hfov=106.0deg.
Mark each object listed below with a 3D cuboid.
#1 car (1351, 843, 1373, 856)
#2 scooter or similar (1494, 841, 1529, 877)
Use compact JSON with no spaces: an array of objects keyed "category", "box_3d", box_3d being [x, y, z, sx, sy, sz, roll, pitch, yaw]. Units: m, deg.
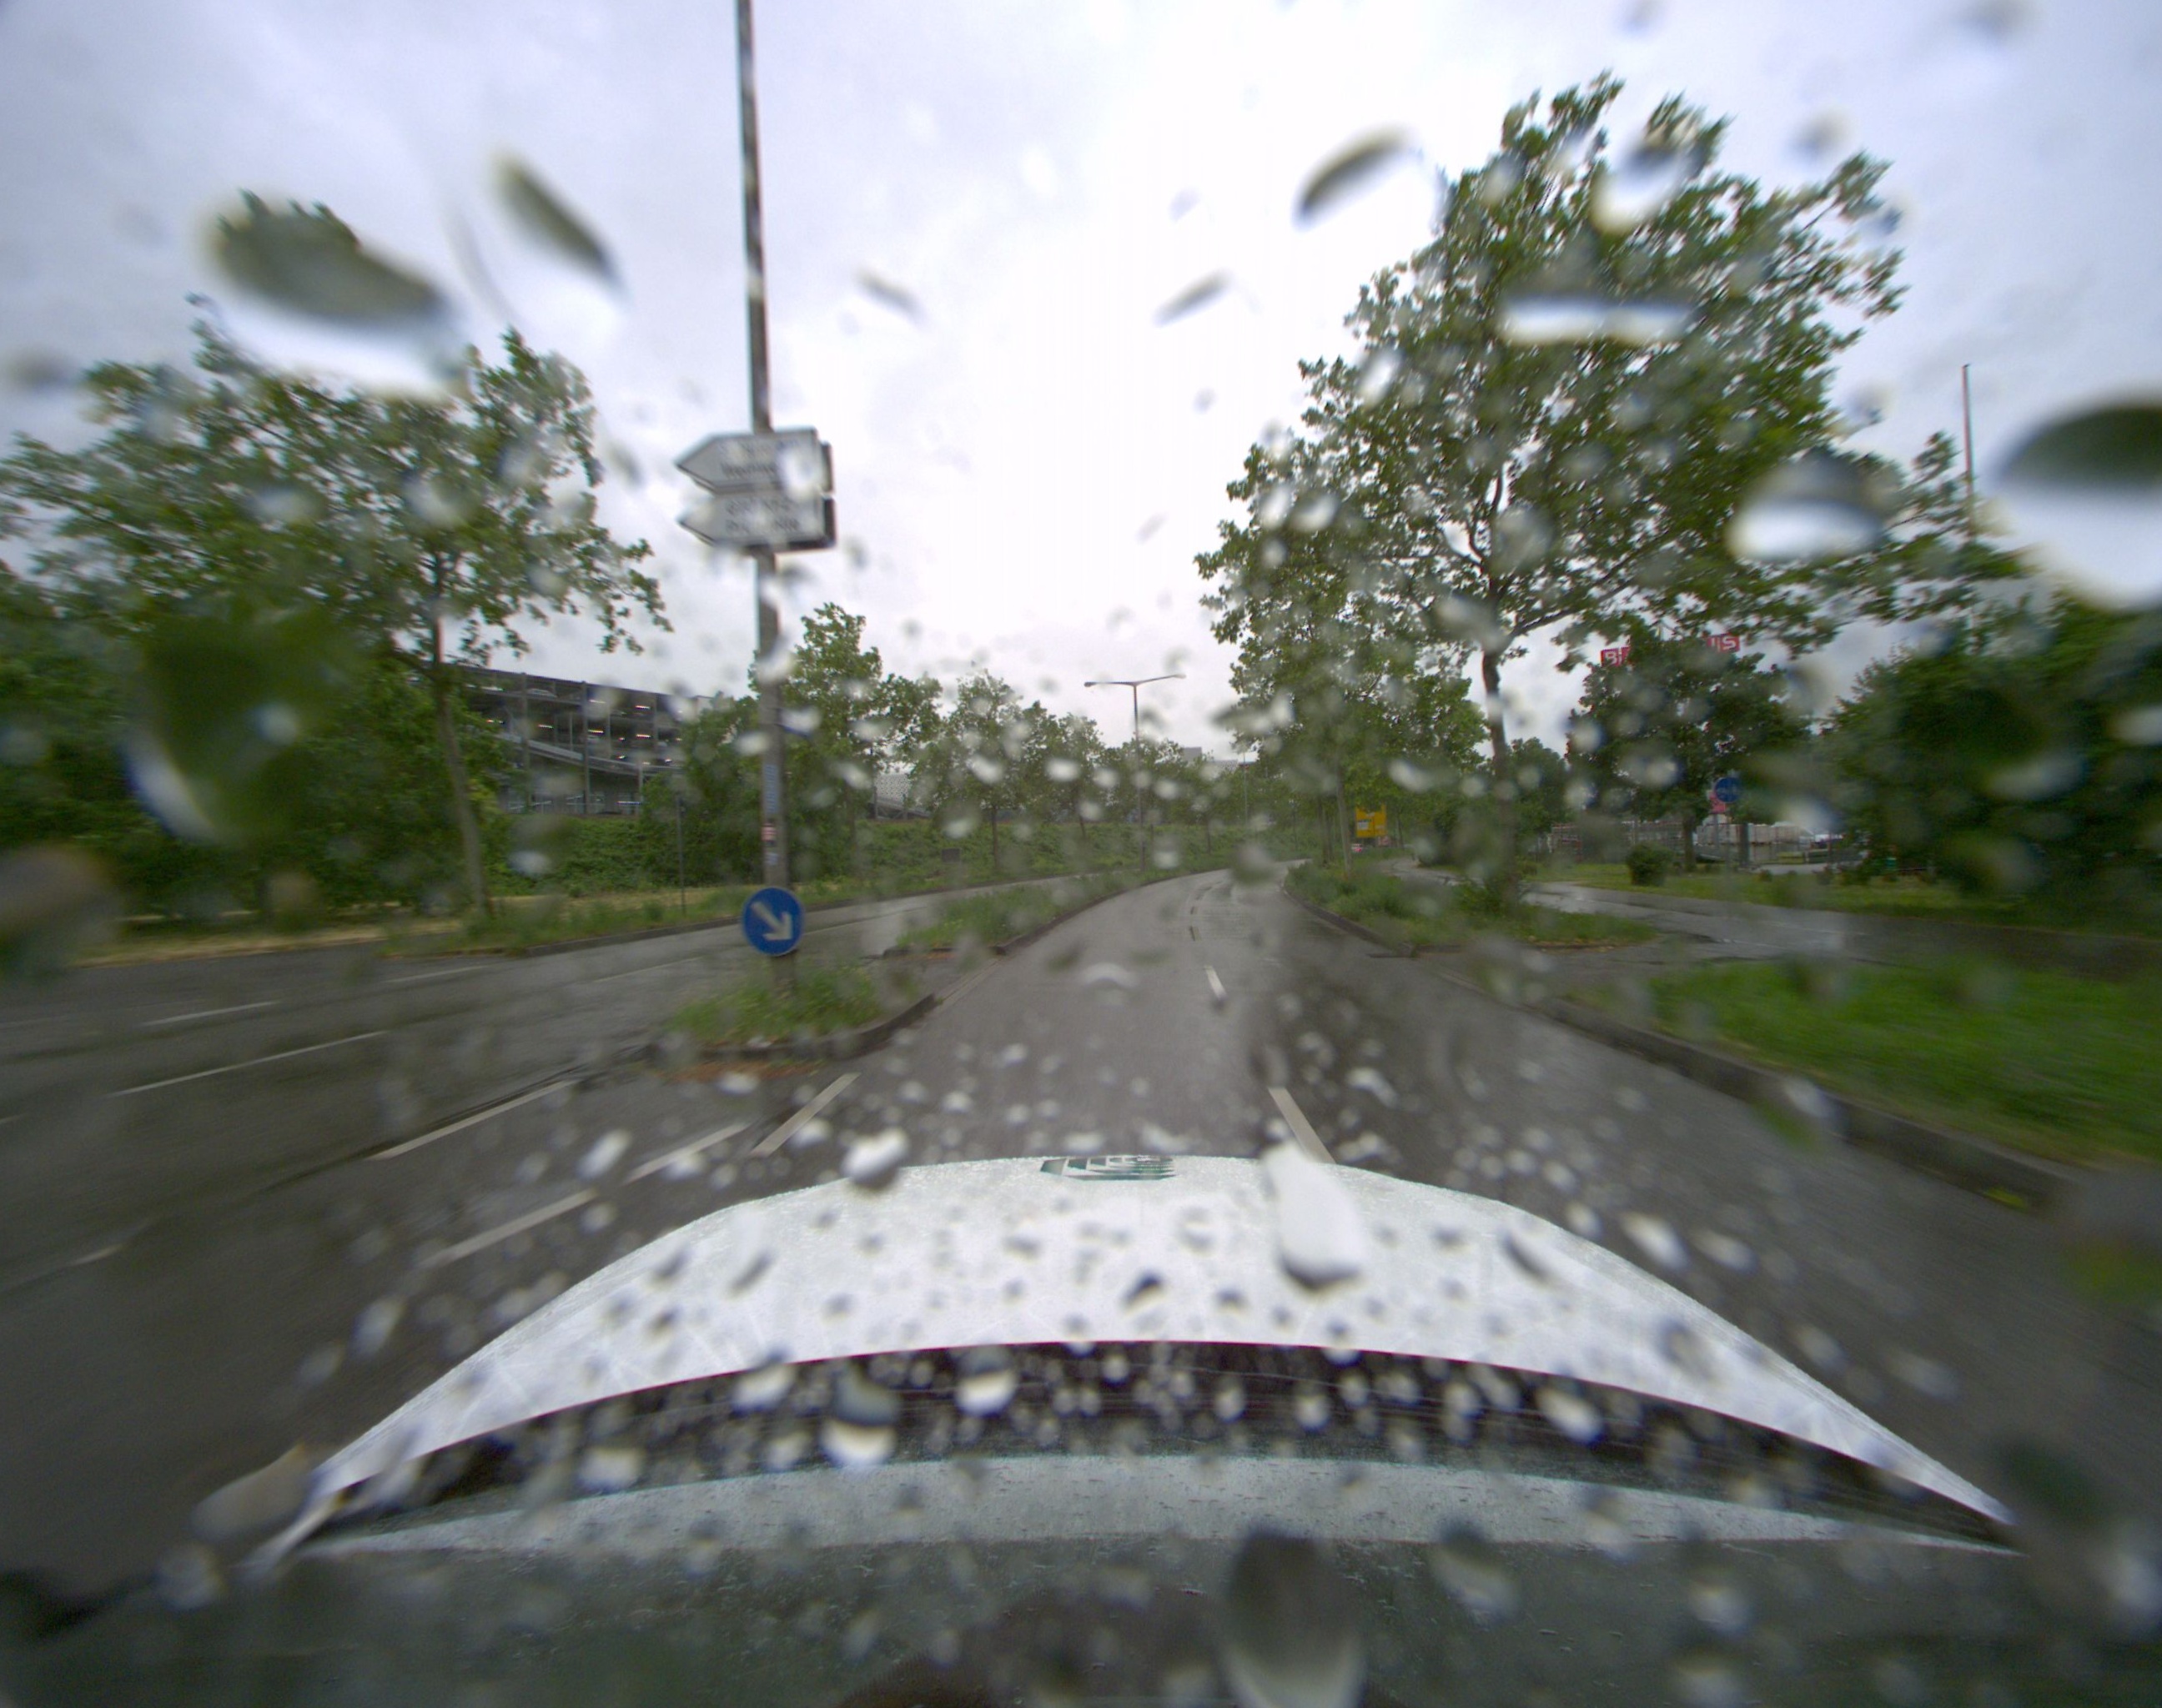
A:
[{"category":"car","box_3d":[34.673,-0.616,100.336,1.762,1.555,4.025,0,1,32]},{"category":"scooter or similar","box_3d":[14.808,0.169,28.025,0.547,1.198,1.110,-2,0,-3]}]
